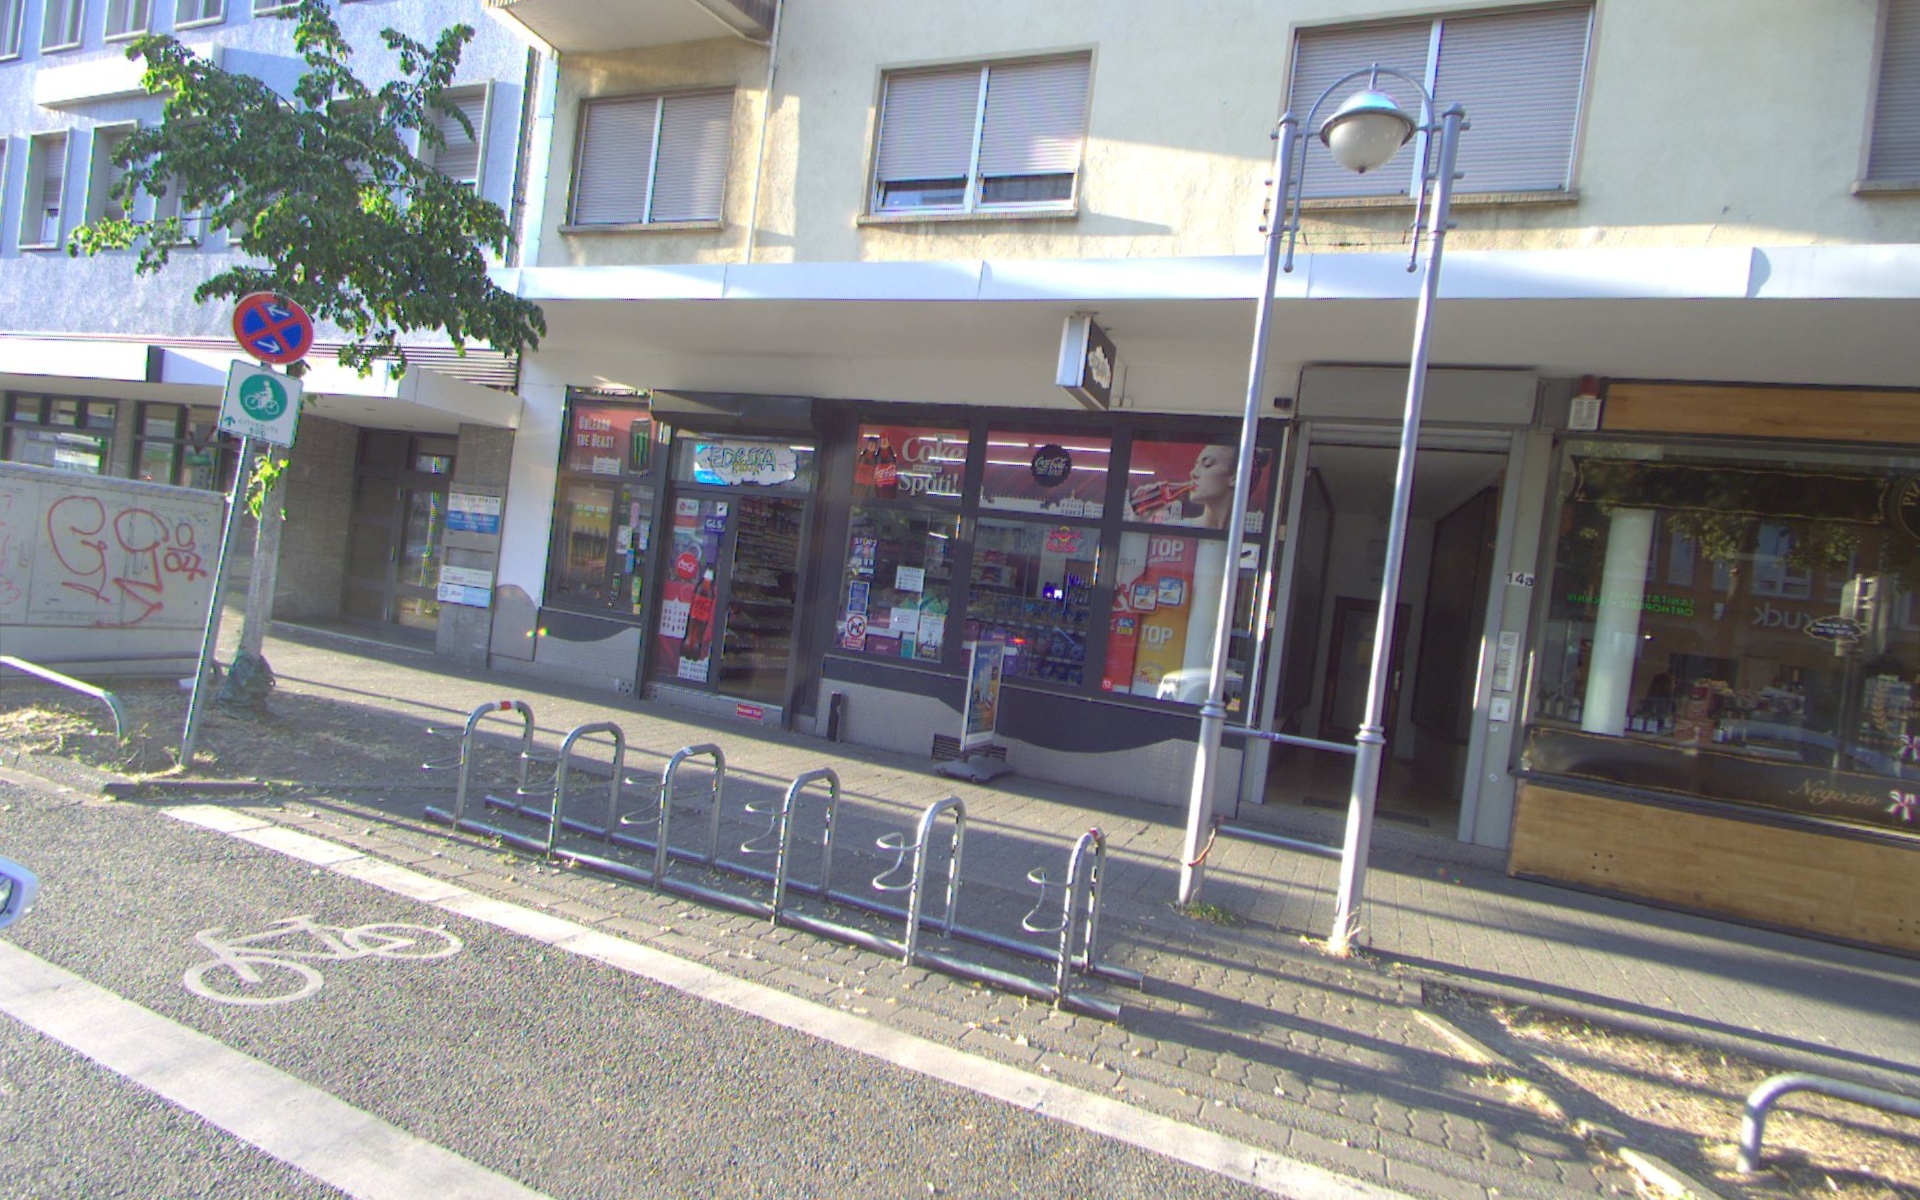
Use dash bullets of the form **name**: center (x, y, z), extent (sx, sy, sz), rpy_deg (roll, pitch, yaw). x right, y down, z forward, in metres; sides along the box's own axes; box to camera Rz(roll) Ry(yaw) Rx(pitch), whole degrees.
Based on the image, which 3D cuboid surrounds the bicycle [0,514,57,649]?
- **bicycle**: center (-9.251, -0.224, 9.115), extent (0.376, 1.234, 1.446), rpy_deg (7, -1, 25)
